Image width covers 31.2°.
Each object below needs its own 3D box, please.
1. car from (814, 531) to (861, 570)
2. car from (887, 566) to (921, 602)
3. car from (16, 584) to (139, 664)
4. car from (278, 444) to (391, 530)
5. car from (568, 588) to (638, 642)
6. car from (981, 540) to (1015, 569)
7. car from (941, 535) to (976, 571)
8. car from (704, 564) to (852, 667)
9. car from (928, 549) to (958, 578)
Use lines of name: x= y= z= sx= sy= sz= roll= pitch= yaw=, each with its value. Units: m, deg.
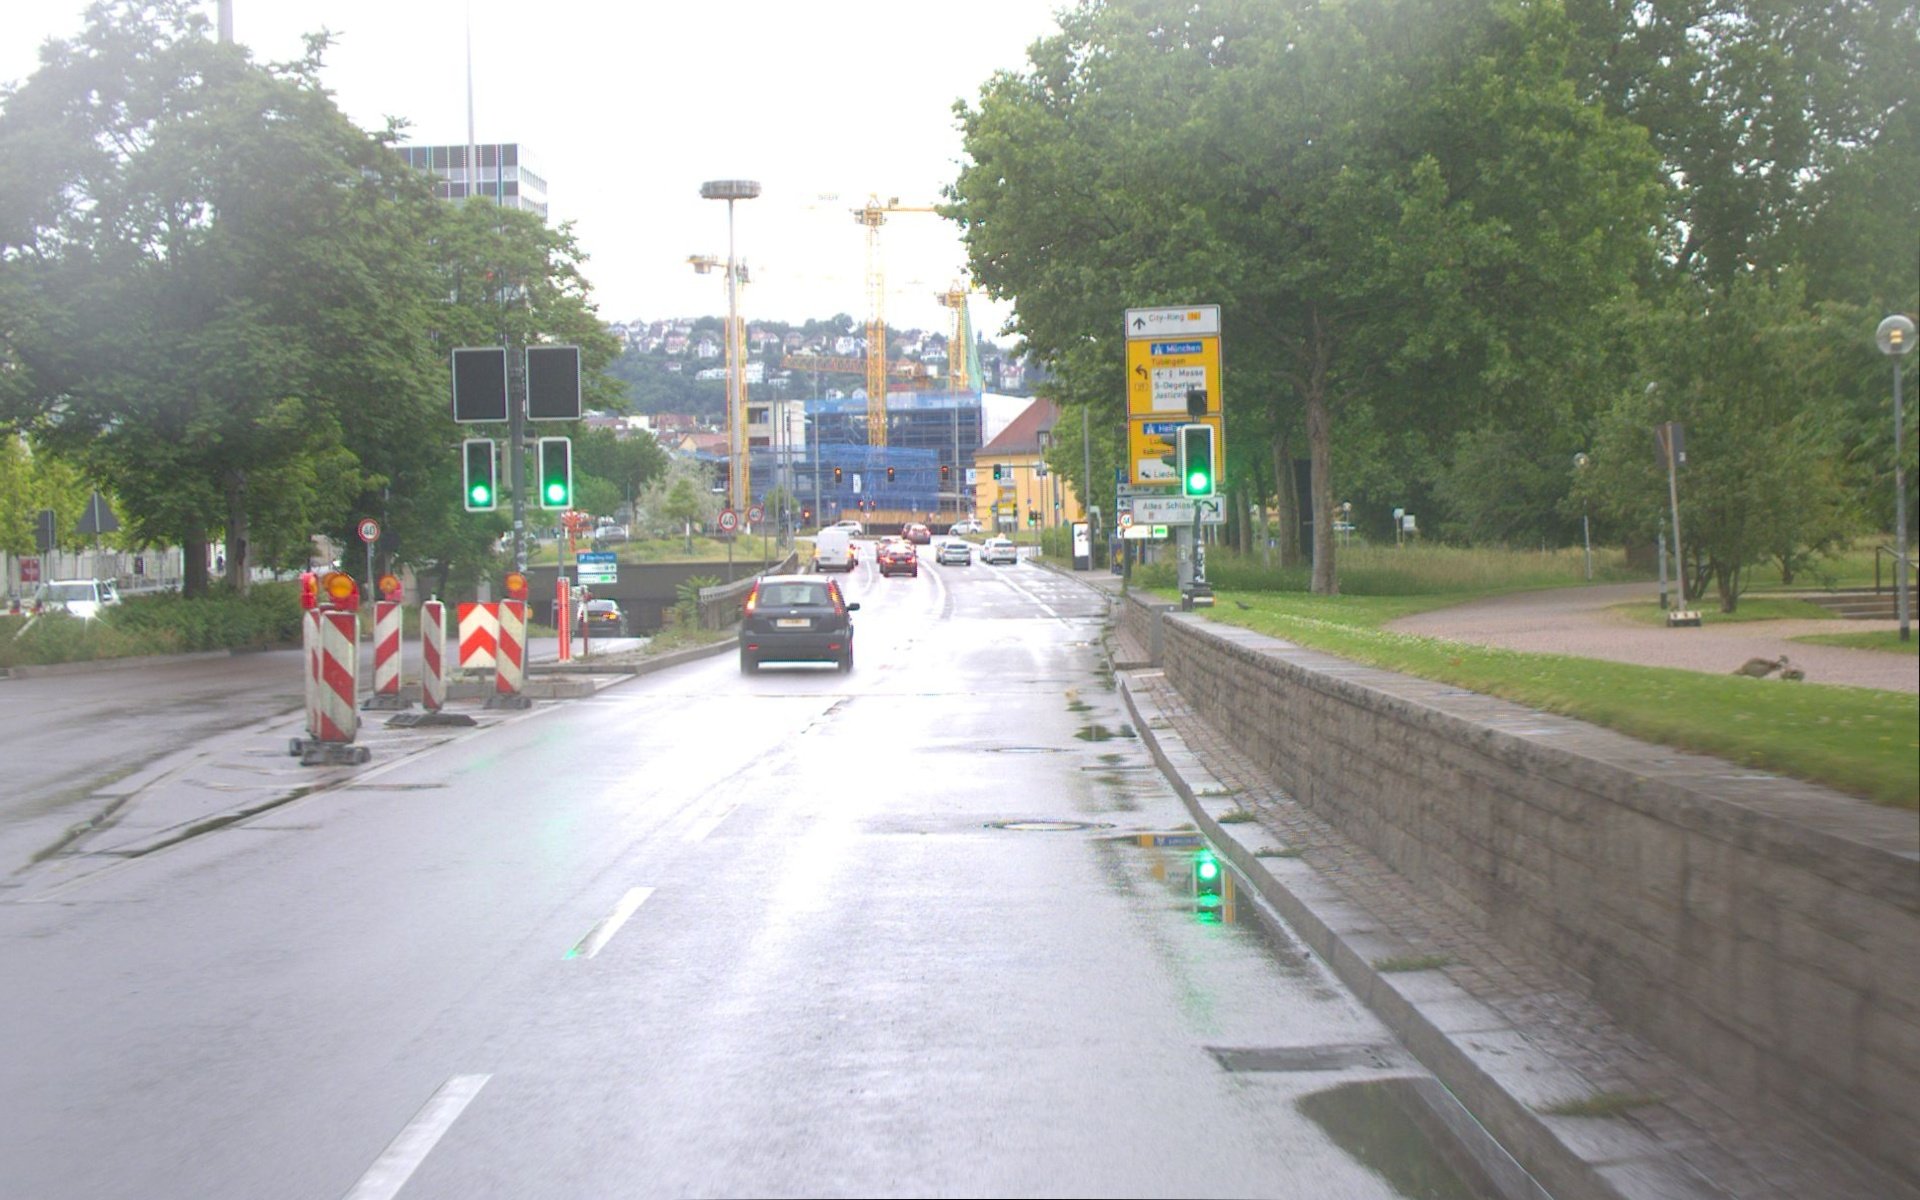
car: x=-6.985 y=-2.802 z=196.096 sx=2.220 sy=2.007 sz=3.999 roll=2 pitch=-1 yaw=3
car: x=-3.035 y=-0.850 z=185.891 sx=1.739 sy=1.765 sz=4.000 roll=-3 pitch=-1 yaw=-2
car: x=-22.052 y=0.614 z=86.058 sx=1.993 sy=1.834 sz=4.893 roll=-3 pitch=-1 yaw=-3
car: x=-13.053 y=-2.338 z=71.907 sx=1.993 sy=1.626 sz=4.001 roll=-1 pitch=0 yaw=-6
car: x=-12.449 y=0.513 z=120.008 sx=1.993 sy=1.775 sz=4.000 roll=-2 pitch=1 yaw=0
car: x=2.412 y=-2.860 z=216.838 sx=1.993 sy=1.594 sz=4.000 roll=-3 pitch=-1 yaw=2
car: x=-0.119 y=-2.907 z=212.355 sx=1.987 sy=2.007 sz=4.000 roll=-3 pitch=-1 yaw=-1
car: x=-2.783 y=0.250 z=51.832 sx=1.843 sy=1.411 sz=3.840 roll=-3 pitch=-1 yaw=-8
car: x=-1.065 y=-2.292 z=218.478 sx=1.713 sy=1.684 sz=3.849 roll=-3 pitch=-1 yaw=2
